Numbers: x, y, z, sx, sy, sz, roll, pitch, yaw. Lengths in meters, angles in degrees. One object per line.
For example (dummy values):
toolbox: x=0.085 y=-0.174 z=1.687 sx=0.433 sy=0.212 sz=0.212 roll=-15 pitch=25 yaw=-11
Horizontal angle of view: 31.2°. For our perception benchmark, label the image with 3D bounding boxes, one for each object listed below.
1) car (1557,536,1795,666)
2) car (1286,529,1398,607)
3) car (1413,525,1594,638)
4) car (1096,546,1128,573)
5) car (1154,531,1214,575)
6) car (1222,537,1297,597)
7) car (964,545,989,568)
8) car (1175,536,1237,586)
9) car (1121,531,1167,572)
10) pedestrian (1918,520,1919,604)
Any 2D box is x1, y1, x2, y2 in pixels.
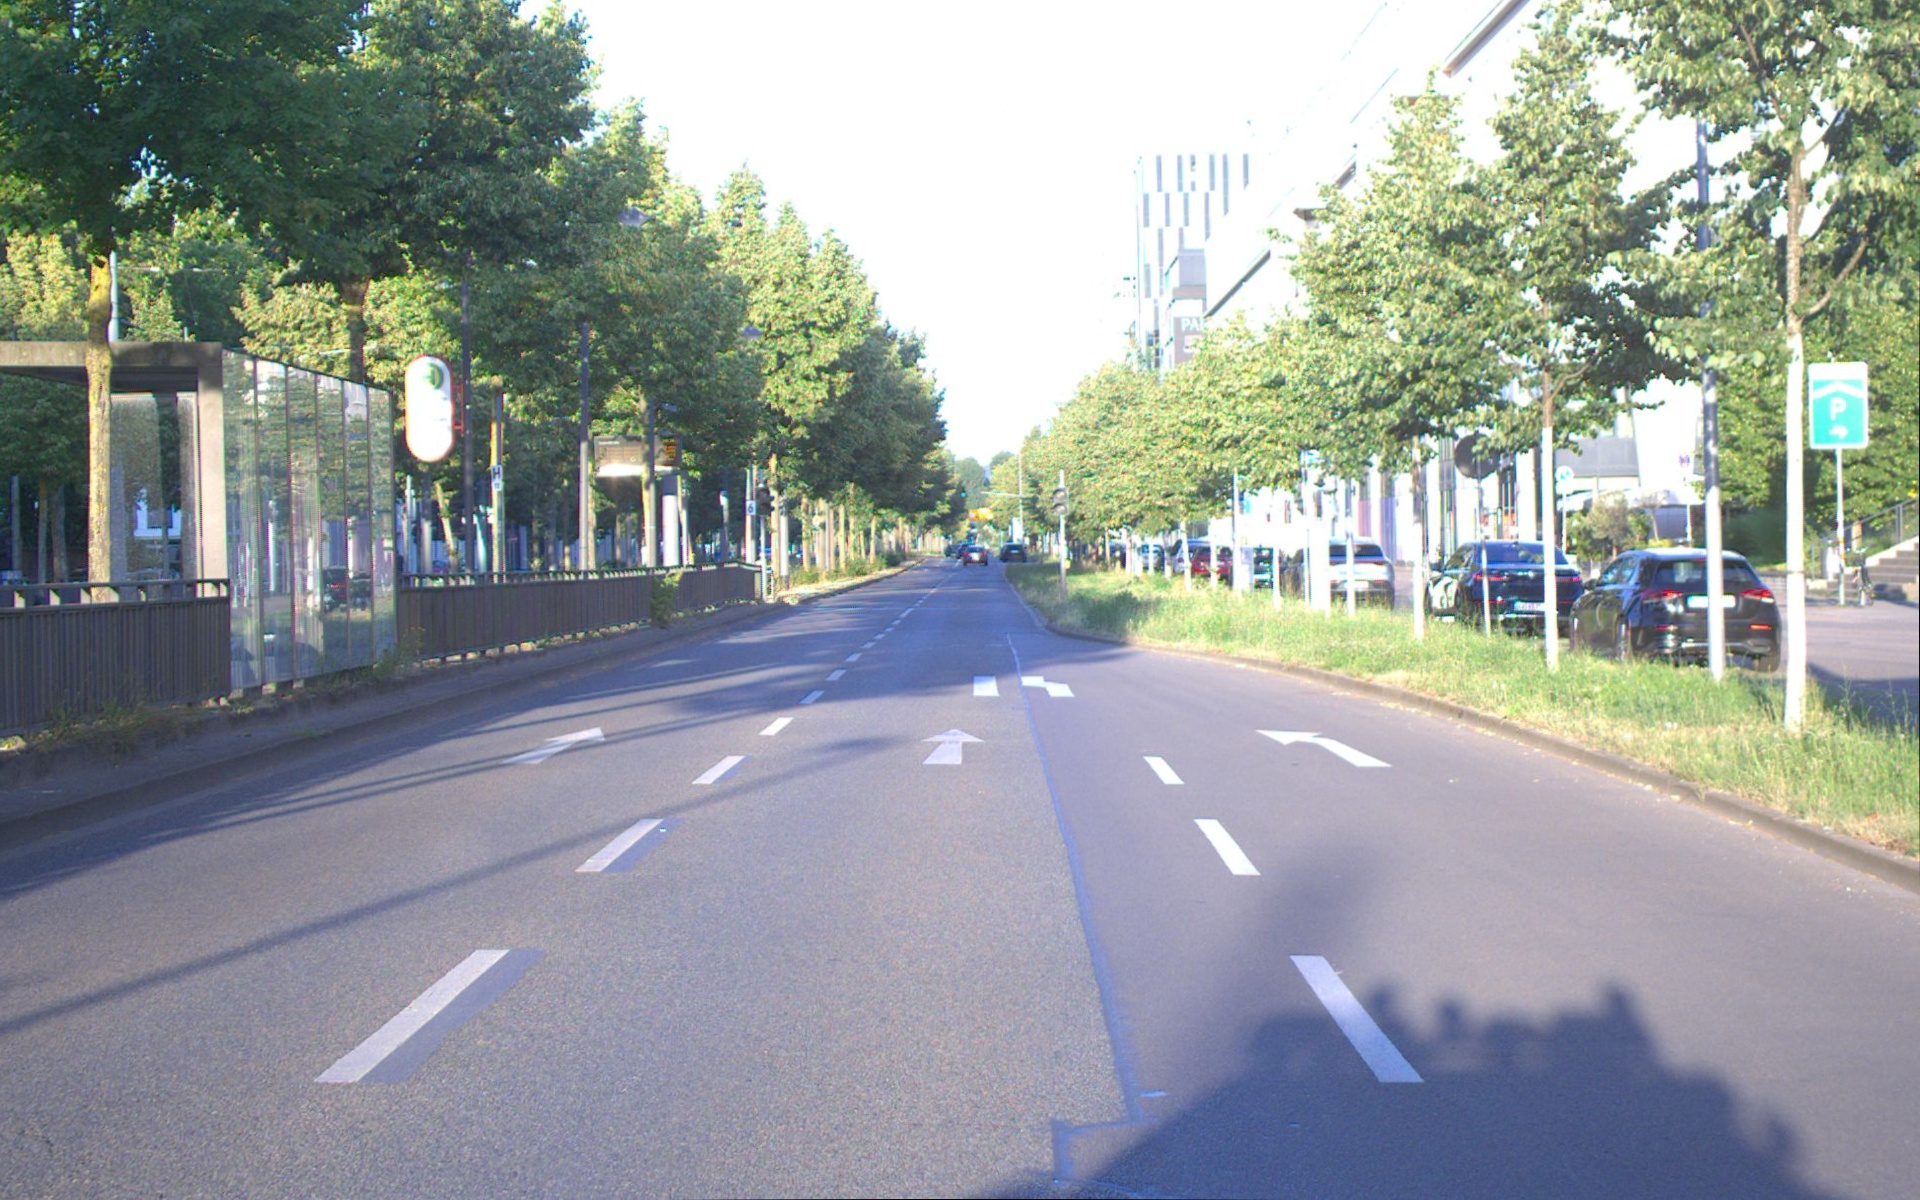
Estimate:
car: x=8.437 y=-0.029 z=40.869 sx=1.825 sy=1.430 sz=4.460 roll=1 pitch=1 yaw=-1
car: x=8.620 y=-0.741 z=77.901 sx=1.993 sy=1.691 sz=4.415 roll=1 pitch=1 yaw=-1
car: x=8.641 y=-0.321 z=55.024 sx=1.993 sy=1.691 sz=4.594 roll=1 pitch=1 yaw=-2
car: x=9.431 y=-2.499 z=213.511 sx=1.695 sy=1.590 sz=4.000 roll=-2 pitch=1 yaw=-1
car: x=8.550 y=-1.790 z=131.382 sx=1.771 sy=1.630 sz=3.562 roll=-1 pitch=1 yaw=-5
car: x=8.763 y=-0.978 z=100.860 sx=2.029 sy=1.691 sz=4.397 roll=1 pitch=1 yaw=3
car: x=1.159 y=-3.088 z=244.110 sx=1.695 sy=1.590 sz=4.000 roll=-2 pitch=1 yaw=-1
car: x=8.894 y=-1.434 z=124.582 sx=1.894 sy=1.765 sz=3.947 roll=-1 pitch=1 yaw=-1
car: x=9.179 y=-2.440 z=171.829 sx=1.993 sy=2.007 sz=4.000 roll=-1 pitch=1 yaw=-1
pedestrian: x=16.762 y=-0.643 z=58.116 sx=0.824 sy=1.437 sz=1.055 roll=-1 pitch=1 yaw=-1
